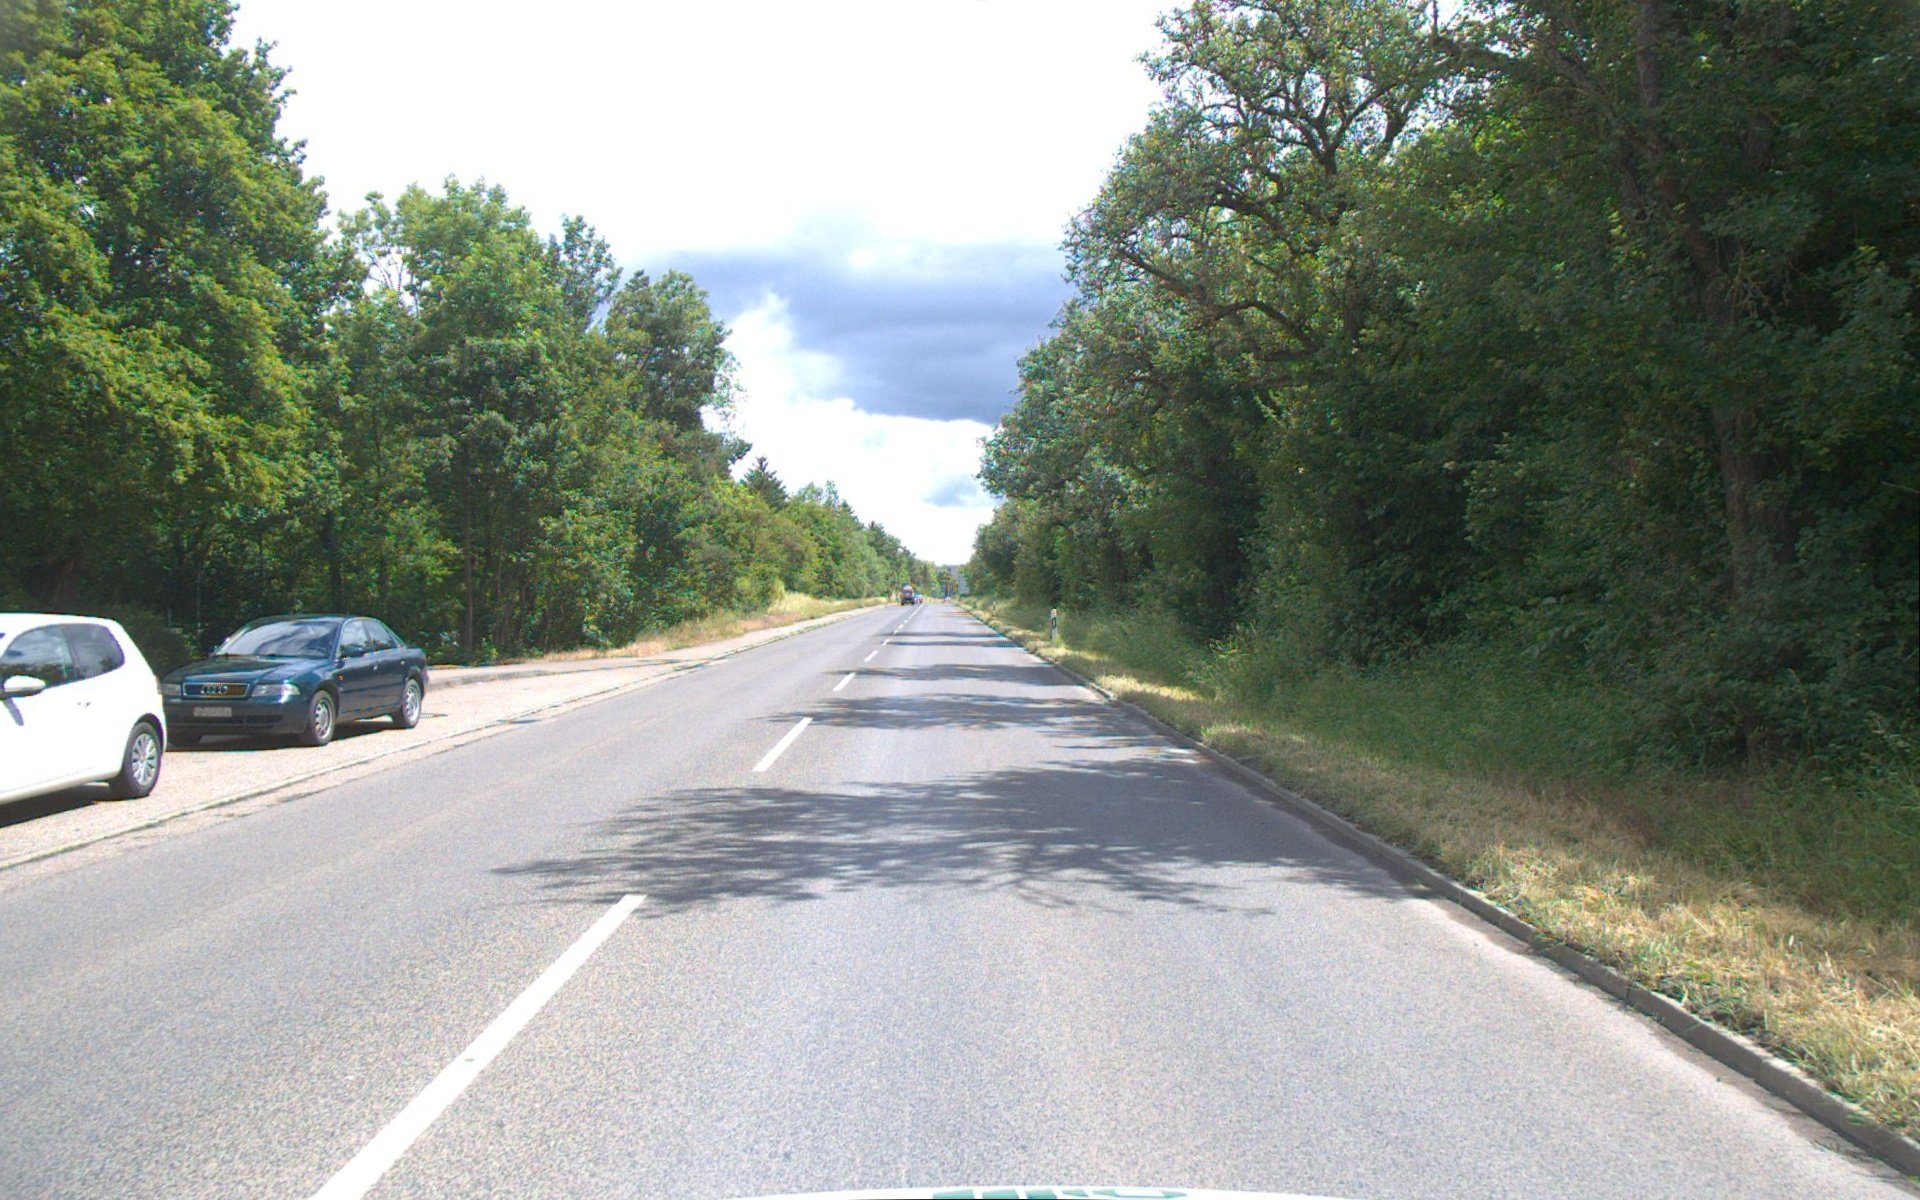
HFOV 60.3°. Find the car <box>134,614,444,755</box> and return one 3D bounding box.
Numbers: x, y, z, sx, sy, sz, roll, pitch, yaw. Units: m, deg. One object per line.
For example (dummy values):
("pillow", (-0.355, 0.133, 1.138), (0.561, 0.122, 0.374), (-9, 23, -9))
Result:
("car", (-7.666, 0.897, 19.387), (1.731, 1.432, 4.266), (1, 0, 2))

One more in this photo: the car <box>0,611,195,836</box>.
("car", (-7.413, 0.847, 12.125), (1.732, 1.495, 4.244), (1, 0, -2))

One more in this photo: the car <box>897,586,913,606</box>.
("car", (-7.432, -0.512, 222.552), (1.929, 2.594, 4.724), (-3, 0, -1))
